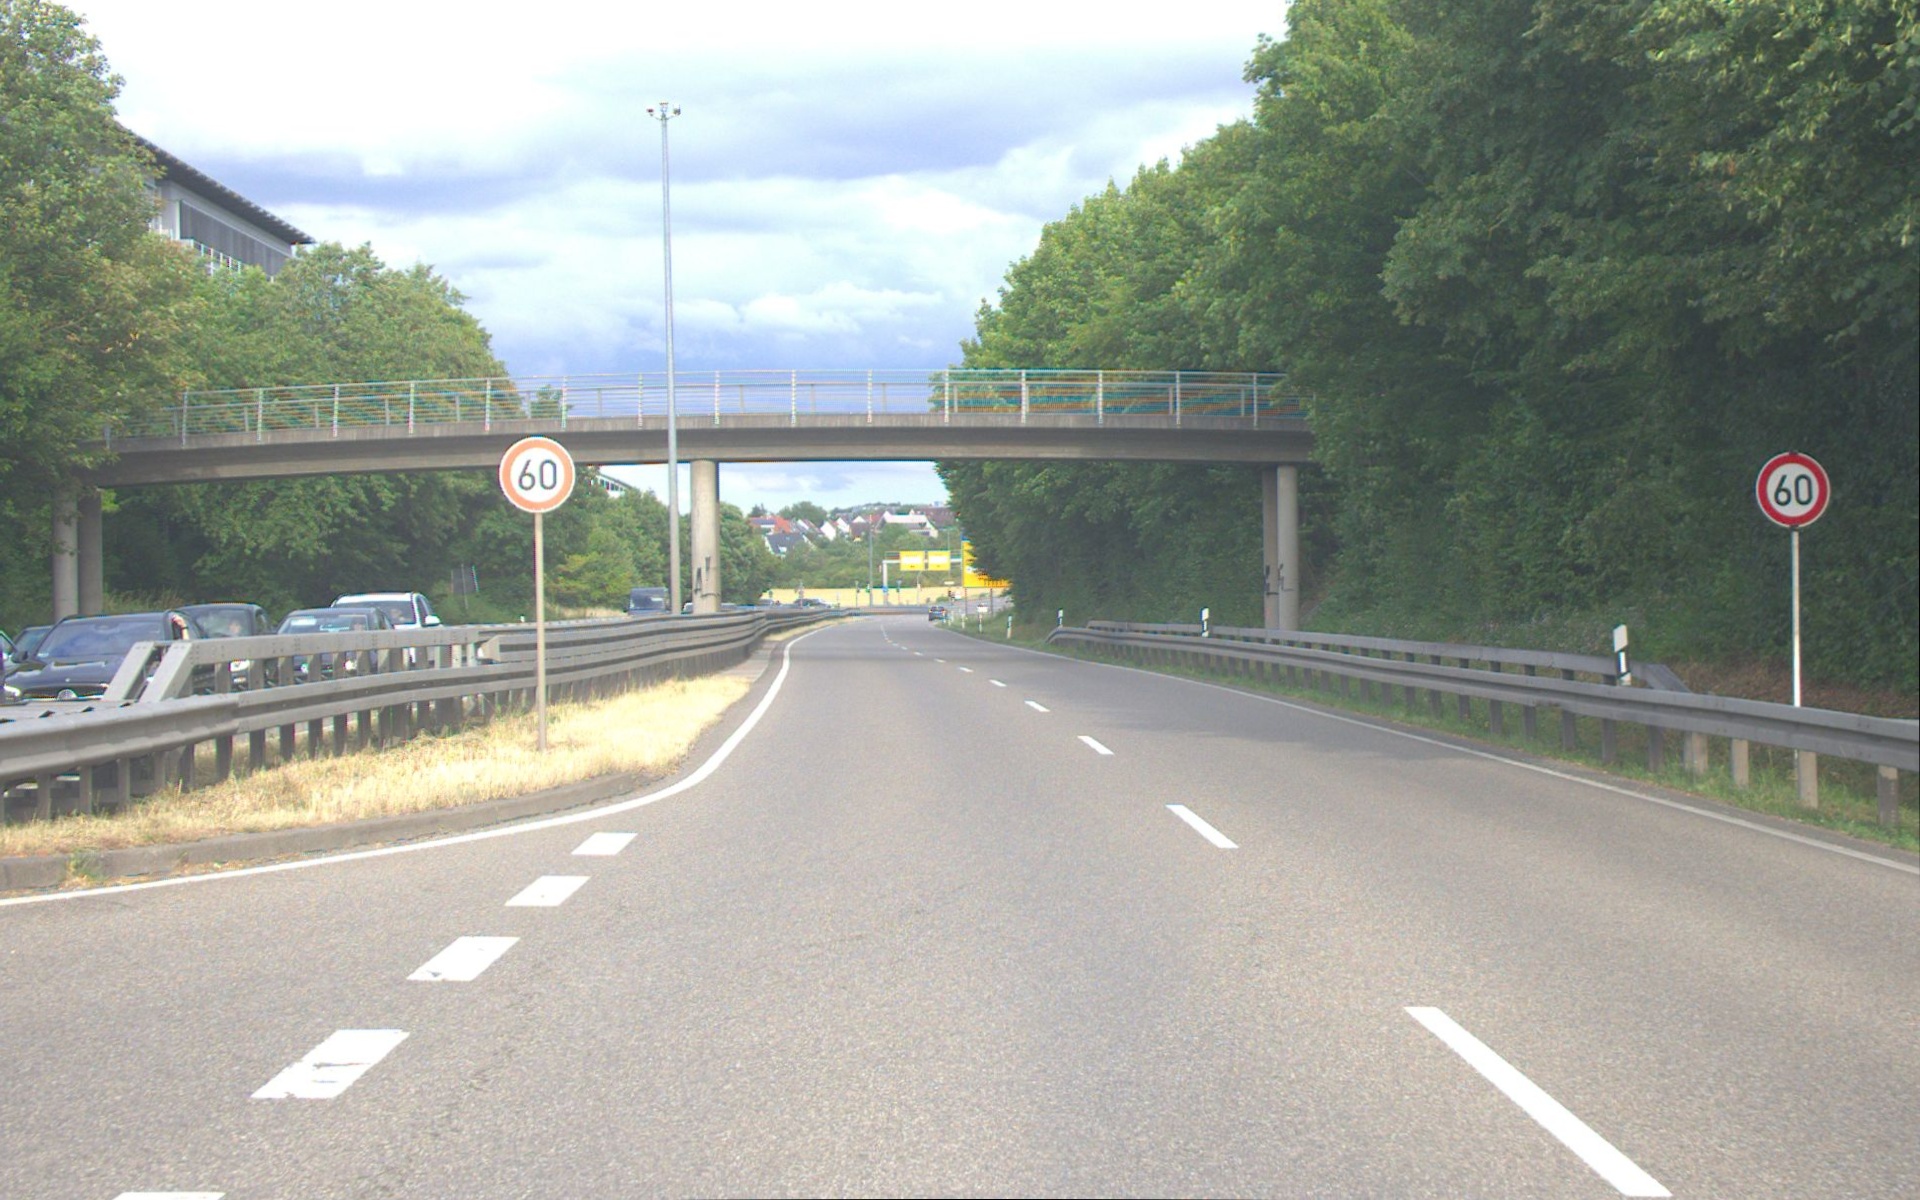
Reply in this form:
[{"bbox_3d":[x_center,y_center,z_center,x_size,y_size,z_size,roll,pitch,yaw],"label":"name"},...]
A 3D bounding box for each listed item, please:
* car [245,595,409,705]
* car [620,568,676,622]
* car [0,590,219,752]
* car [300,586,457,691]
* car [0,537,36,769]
[{"bbox_3d":[-8.910,0.679,48.633,1.718,1.462,3.734,-1,0,-2],"label":"car"},{"bbox_3d":[-15.879,-0.255,175.130,2.249,2.528,6.941,-4,0,-2],"label":"car"},{"bbox_3d":[-9.028,0.699,35.893,1.712,1.584,4.554,0,0,-2],"label":"car"},{"bbox_3d":[-9.433,0.589,56.102,1.822,1.579,4.791,-2,0,-2],"label":"car"},{"bbox_3d":[-8.835,0.495,26.585,1.898,1.910,5.050,-4,0,0],"label":"car"}]
